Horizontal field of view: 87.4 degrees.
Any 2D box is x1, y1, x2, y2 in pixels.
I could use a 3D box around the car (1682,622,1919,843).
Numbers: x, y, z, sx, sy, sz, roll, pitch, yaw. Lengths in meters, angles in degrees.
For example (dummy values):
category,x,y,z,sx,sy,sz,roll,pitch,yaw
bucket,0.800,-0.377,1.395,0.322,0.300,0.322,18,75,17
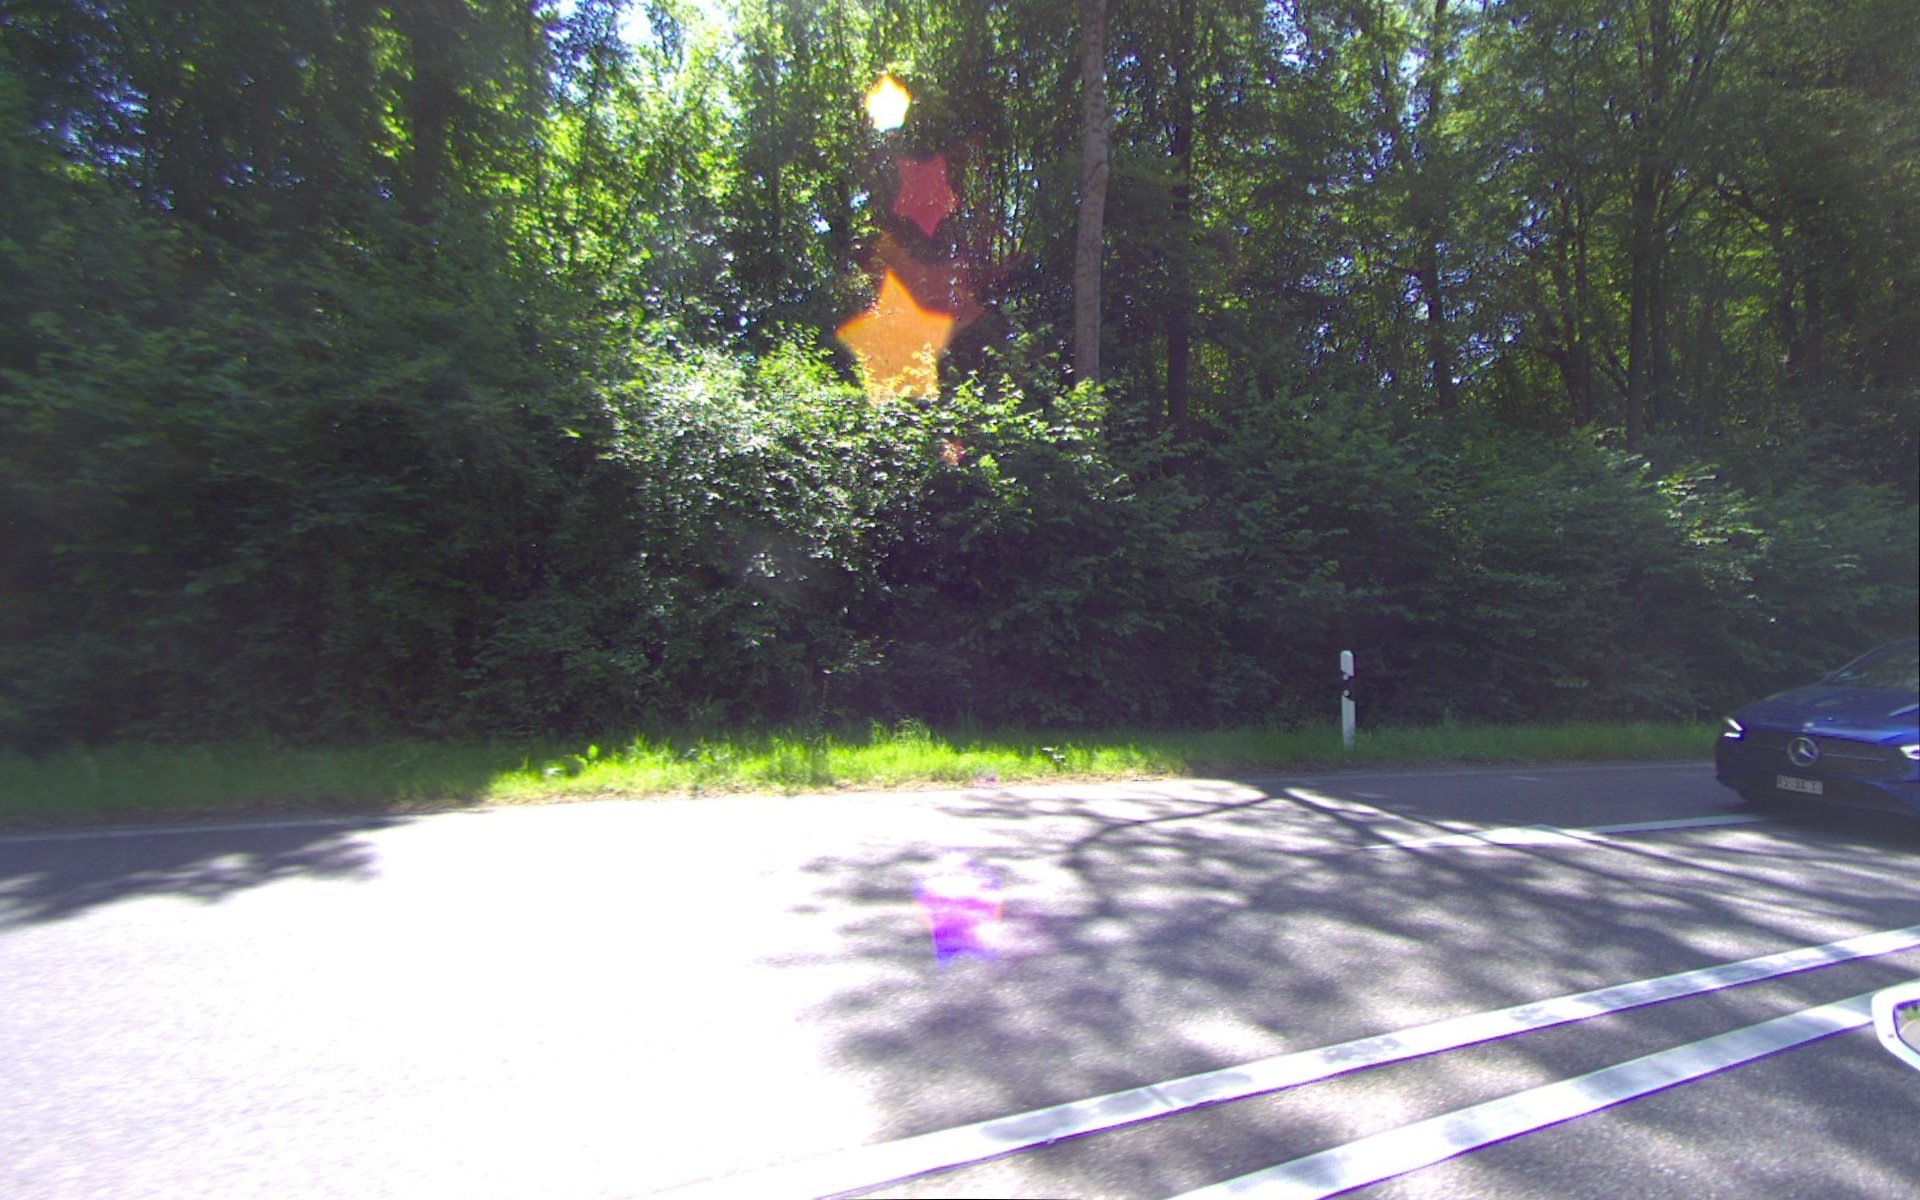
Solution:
category,x,y,z,sx,sy,sz,roll,pitch,yaw
car,8.068,0.944,7.830,4.292,1.424,1.788,2,-2,-18
